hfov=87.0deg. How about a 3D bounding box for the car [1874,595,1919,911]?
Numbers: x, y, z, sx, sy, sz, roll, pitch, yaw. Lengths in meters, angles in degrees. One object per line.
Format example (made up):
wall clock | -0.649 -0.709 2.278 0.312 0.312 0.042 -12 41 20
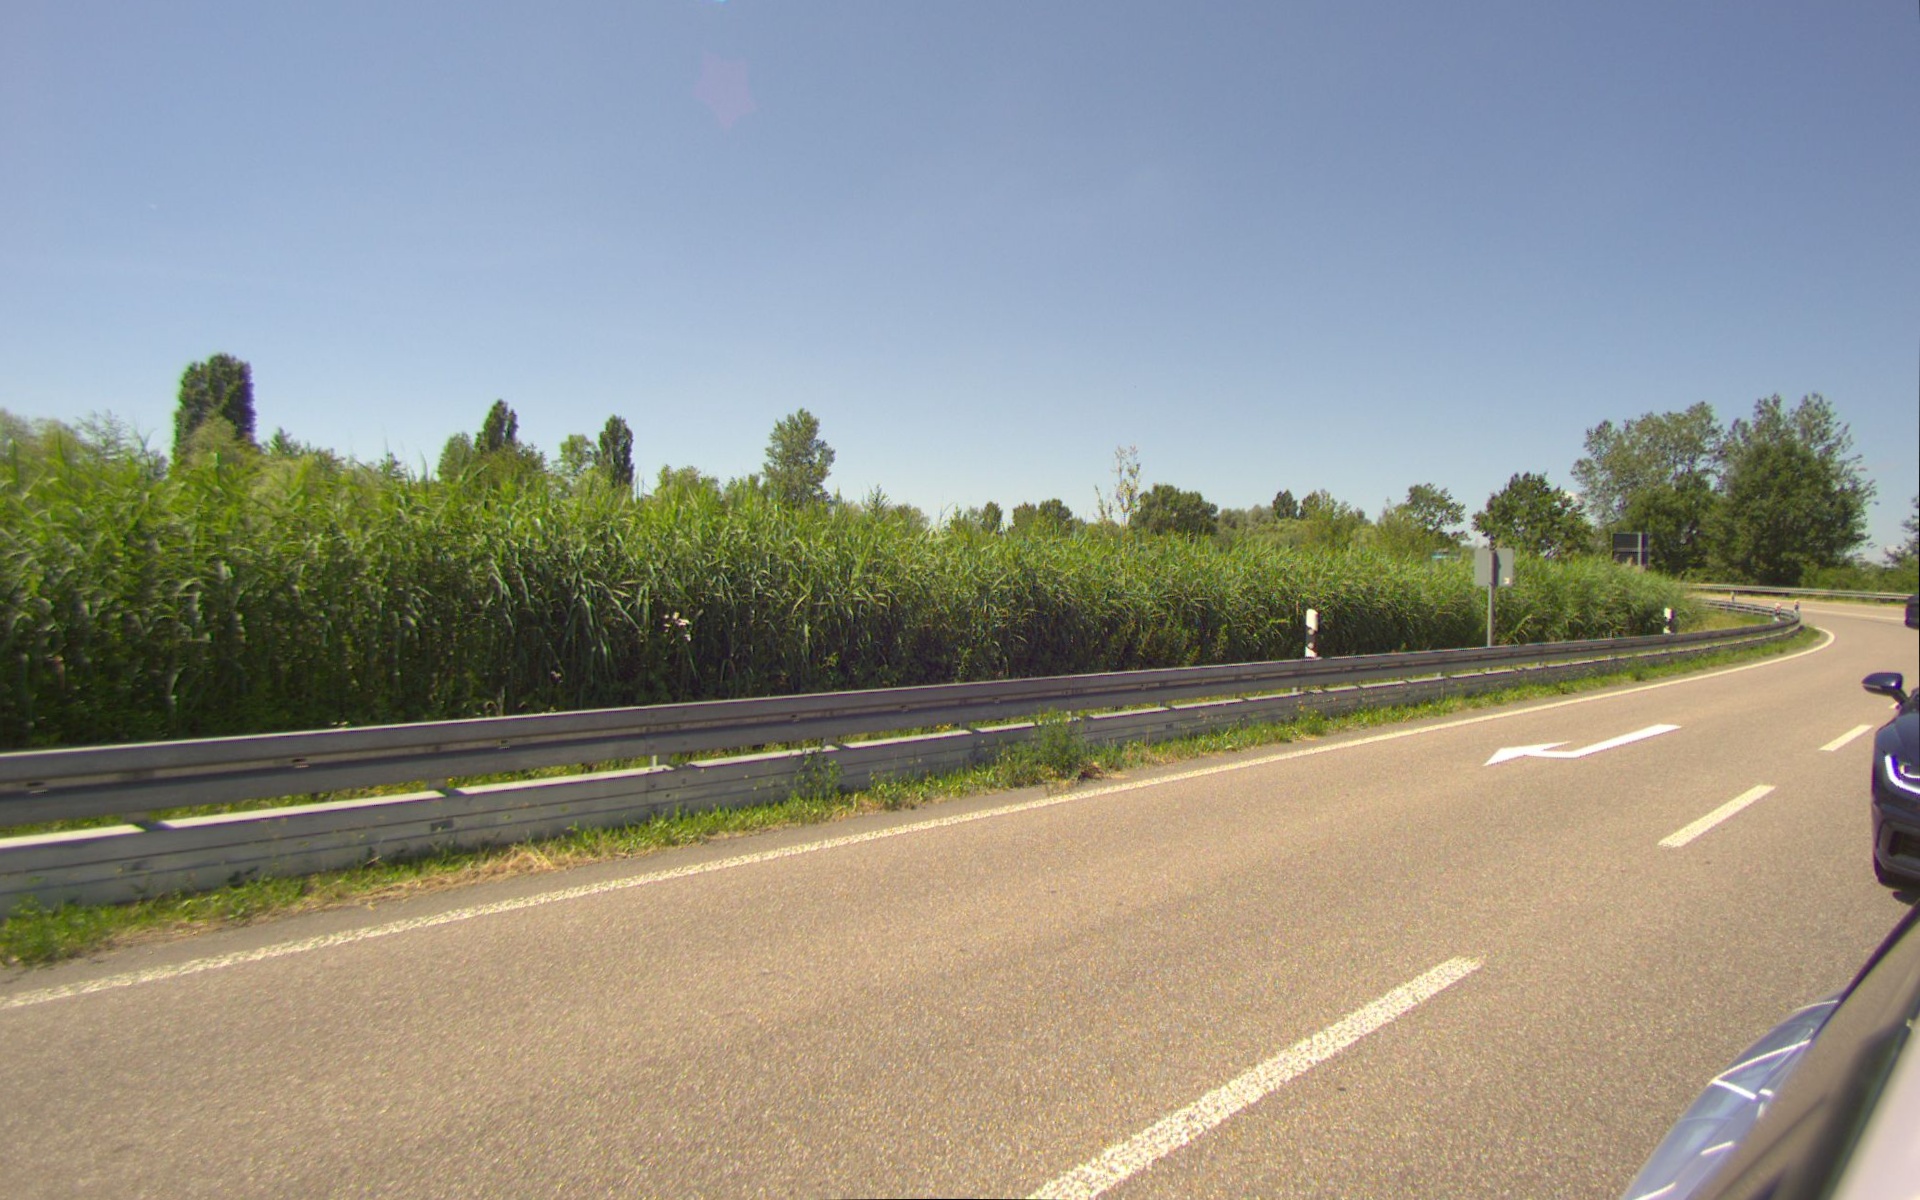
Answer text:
car | 6.325 0.690 5.374 3.931 1.427 1.759 -1 1 -41

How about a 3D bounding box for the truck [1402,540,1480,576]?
truck | 45.117 -3.891 95.276 2.527 3.108 9.087 0 0 -4
